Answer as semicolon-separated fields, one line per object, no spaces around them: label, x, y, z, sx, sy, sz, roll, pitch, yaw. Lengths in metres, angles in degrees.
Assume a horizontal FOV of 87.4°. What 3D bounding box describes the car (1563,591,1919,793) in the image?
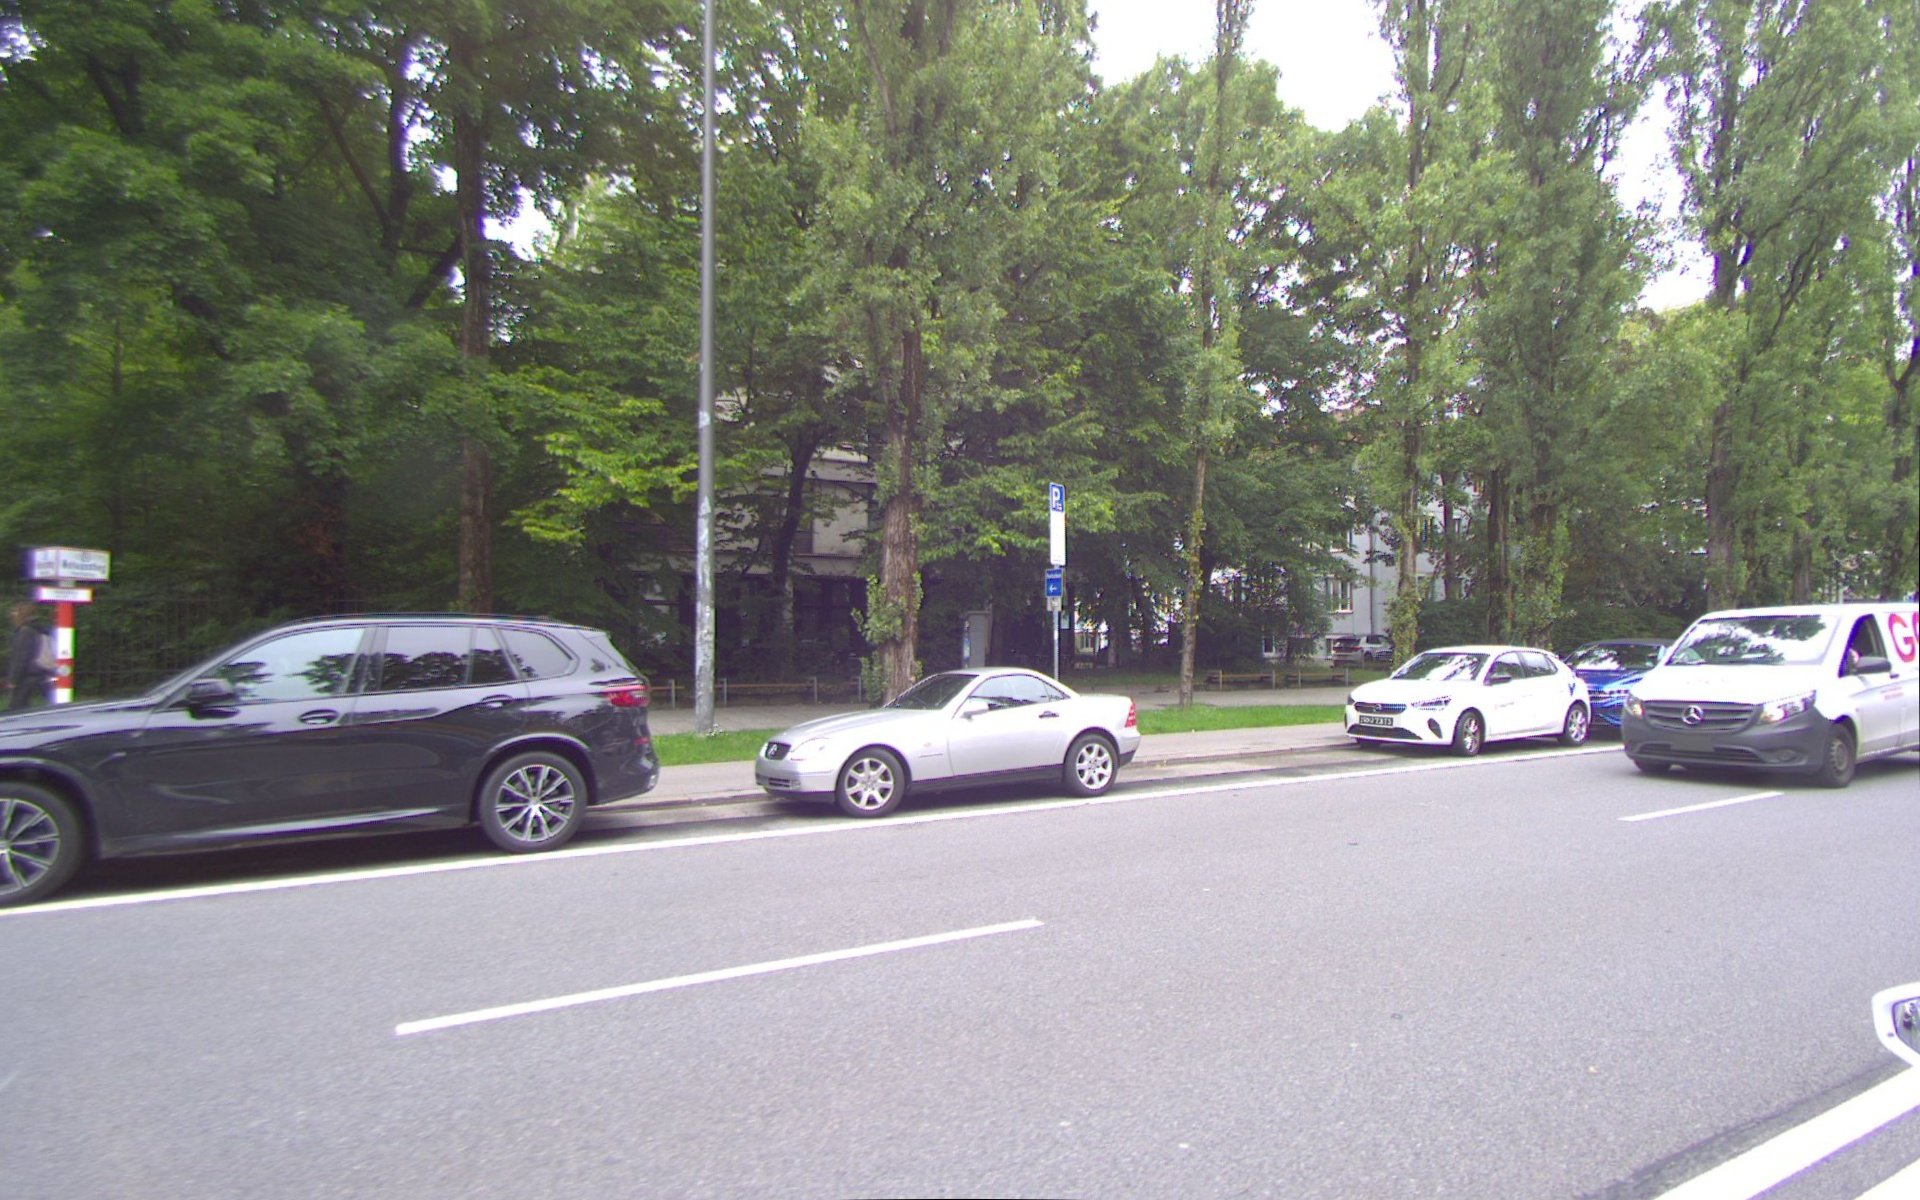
car;9.906;0.975;11.870;5.624;1.916;2.175;1;-3;-28

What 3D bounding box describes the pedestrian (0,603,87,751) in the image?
pedestrian;-11.812;0.965;12.885;0.766;1.839;0.637;1;-1;-29

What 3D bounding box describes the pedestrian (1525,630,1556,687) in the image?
pedestrian;18.032;1.809;31.199;0.632;1.762;0.597;1;-1;-28

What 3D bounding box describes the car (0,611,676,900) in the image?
car;-4.682;0.979;7.474;4.662;1.680;1.872;1;-4;-30

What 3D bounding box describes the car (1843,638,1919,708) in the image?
car;21.403;1.582;22.262;3.823;1.451;1.533;1;-4;-30

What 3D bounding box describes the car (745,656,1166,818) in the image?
car;0.002;1.242;10.106;3.978;1.321;1.574;1;-3;-28

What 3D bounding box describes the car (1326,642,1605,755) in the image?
car;7.319;1.325;14.471;3.957;1.431;1.678;1;-3;-30

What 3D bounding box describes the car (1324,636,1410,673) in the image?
car;19.807;2.609;48.775;4.226;1.706;1.980;1;-2;-37

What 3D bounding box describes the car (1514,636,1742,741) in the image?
car;11.109;1.393;16.634;4.076;1.538;1.733;2;-3;-34
